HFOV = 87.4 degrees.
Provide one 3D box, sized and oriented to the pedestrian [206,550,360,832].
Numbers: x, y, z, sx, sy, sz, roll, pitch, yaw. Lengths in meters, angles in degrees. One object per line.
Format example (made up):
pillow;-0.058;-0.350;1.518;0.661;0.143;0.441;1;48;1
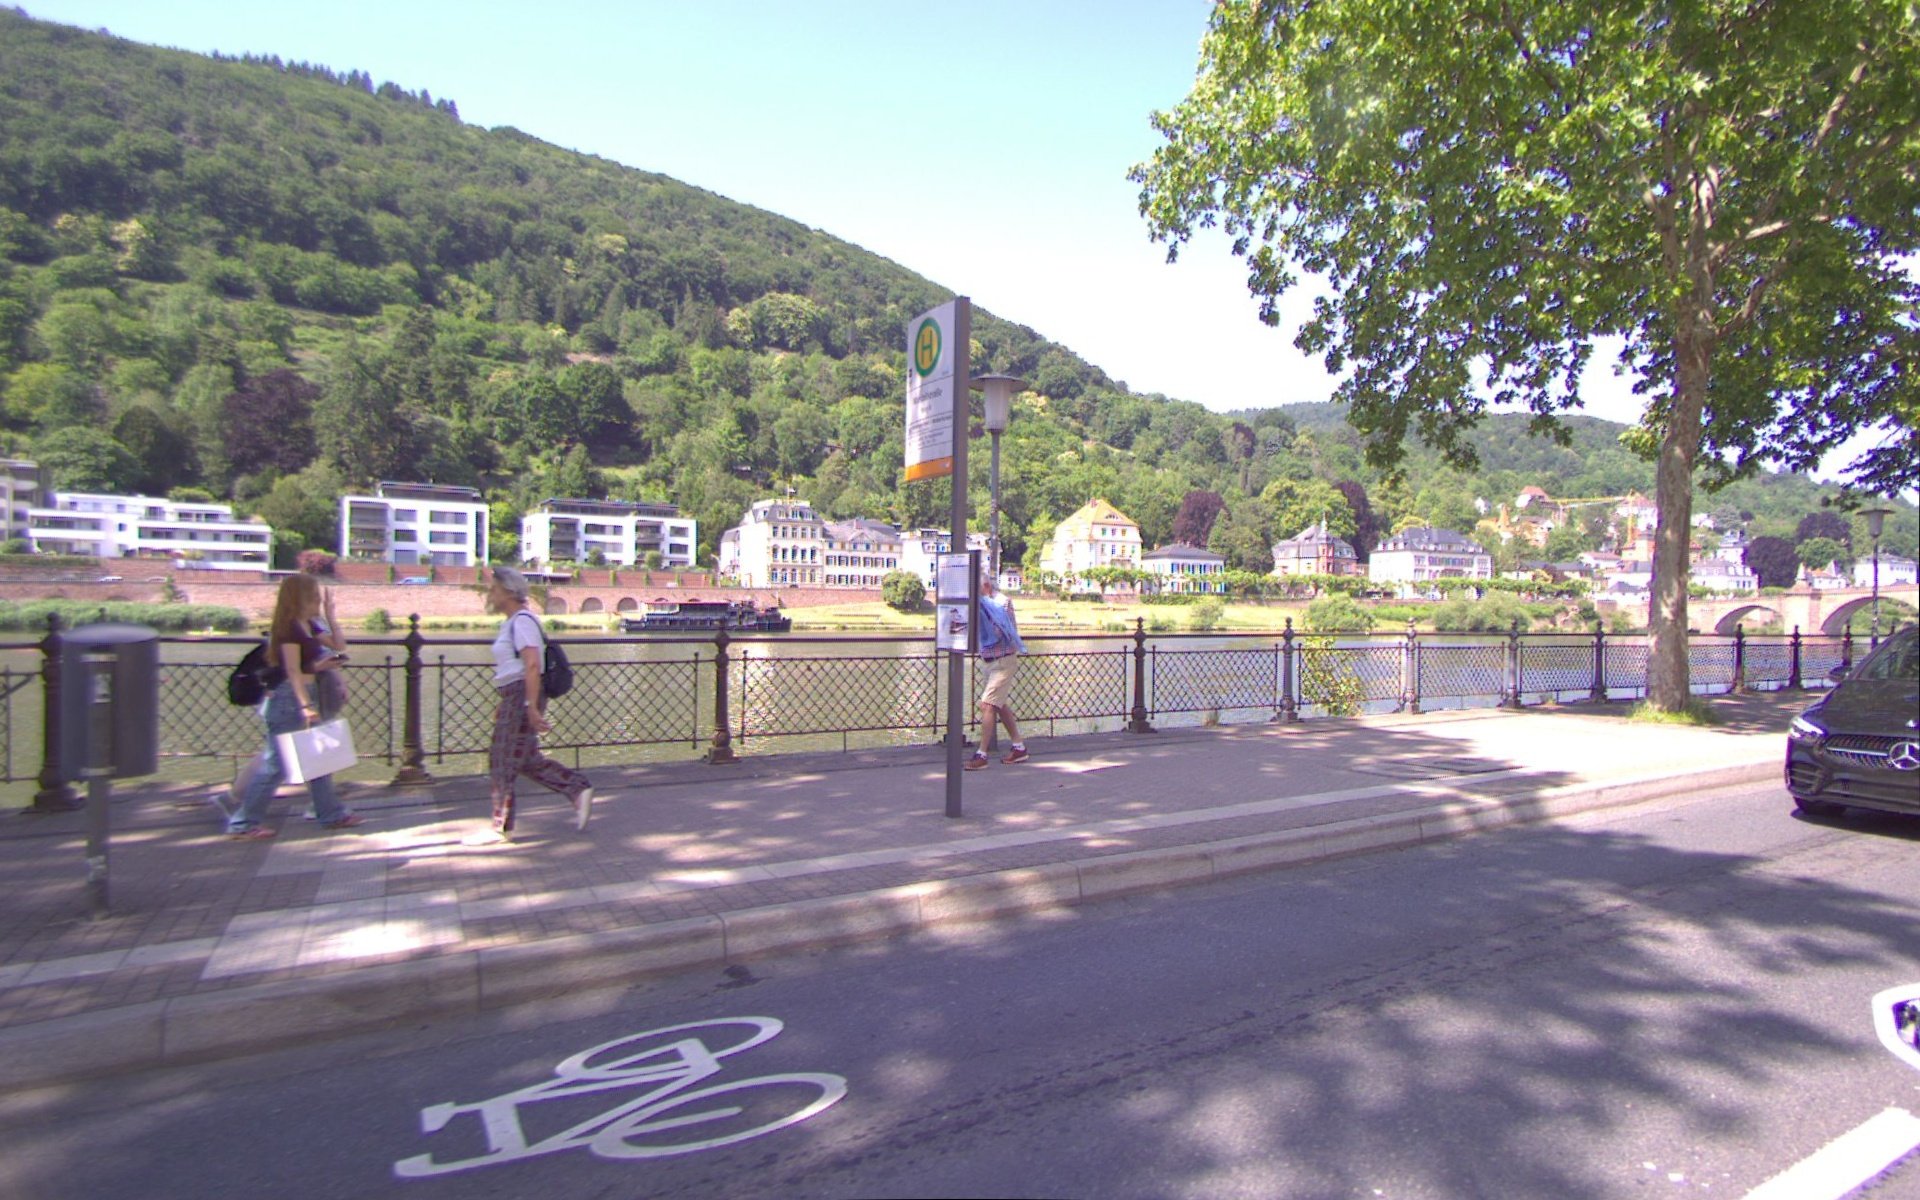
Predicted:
pedestrian;-4.453;0.571;6.664;0.784;1.736;0.649;1;-1;-31

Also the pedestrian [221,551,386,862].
pedestrian;-3.991;0.603;6.174;0.773;1.736;0.831;1;0;-31

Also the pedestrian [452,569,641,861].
pedestrian;-2.513;0.657;6.109;0.980;1.639;0.491;1;0;-31

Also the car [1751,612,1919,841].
car;8.284;0.897;7.899;4.351;1.538;1.694;1;-3;-29

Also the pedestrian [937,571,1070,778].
pedestrian;0.395;0.653;9.211;0.961;1.787;0.708;1;0;-31
